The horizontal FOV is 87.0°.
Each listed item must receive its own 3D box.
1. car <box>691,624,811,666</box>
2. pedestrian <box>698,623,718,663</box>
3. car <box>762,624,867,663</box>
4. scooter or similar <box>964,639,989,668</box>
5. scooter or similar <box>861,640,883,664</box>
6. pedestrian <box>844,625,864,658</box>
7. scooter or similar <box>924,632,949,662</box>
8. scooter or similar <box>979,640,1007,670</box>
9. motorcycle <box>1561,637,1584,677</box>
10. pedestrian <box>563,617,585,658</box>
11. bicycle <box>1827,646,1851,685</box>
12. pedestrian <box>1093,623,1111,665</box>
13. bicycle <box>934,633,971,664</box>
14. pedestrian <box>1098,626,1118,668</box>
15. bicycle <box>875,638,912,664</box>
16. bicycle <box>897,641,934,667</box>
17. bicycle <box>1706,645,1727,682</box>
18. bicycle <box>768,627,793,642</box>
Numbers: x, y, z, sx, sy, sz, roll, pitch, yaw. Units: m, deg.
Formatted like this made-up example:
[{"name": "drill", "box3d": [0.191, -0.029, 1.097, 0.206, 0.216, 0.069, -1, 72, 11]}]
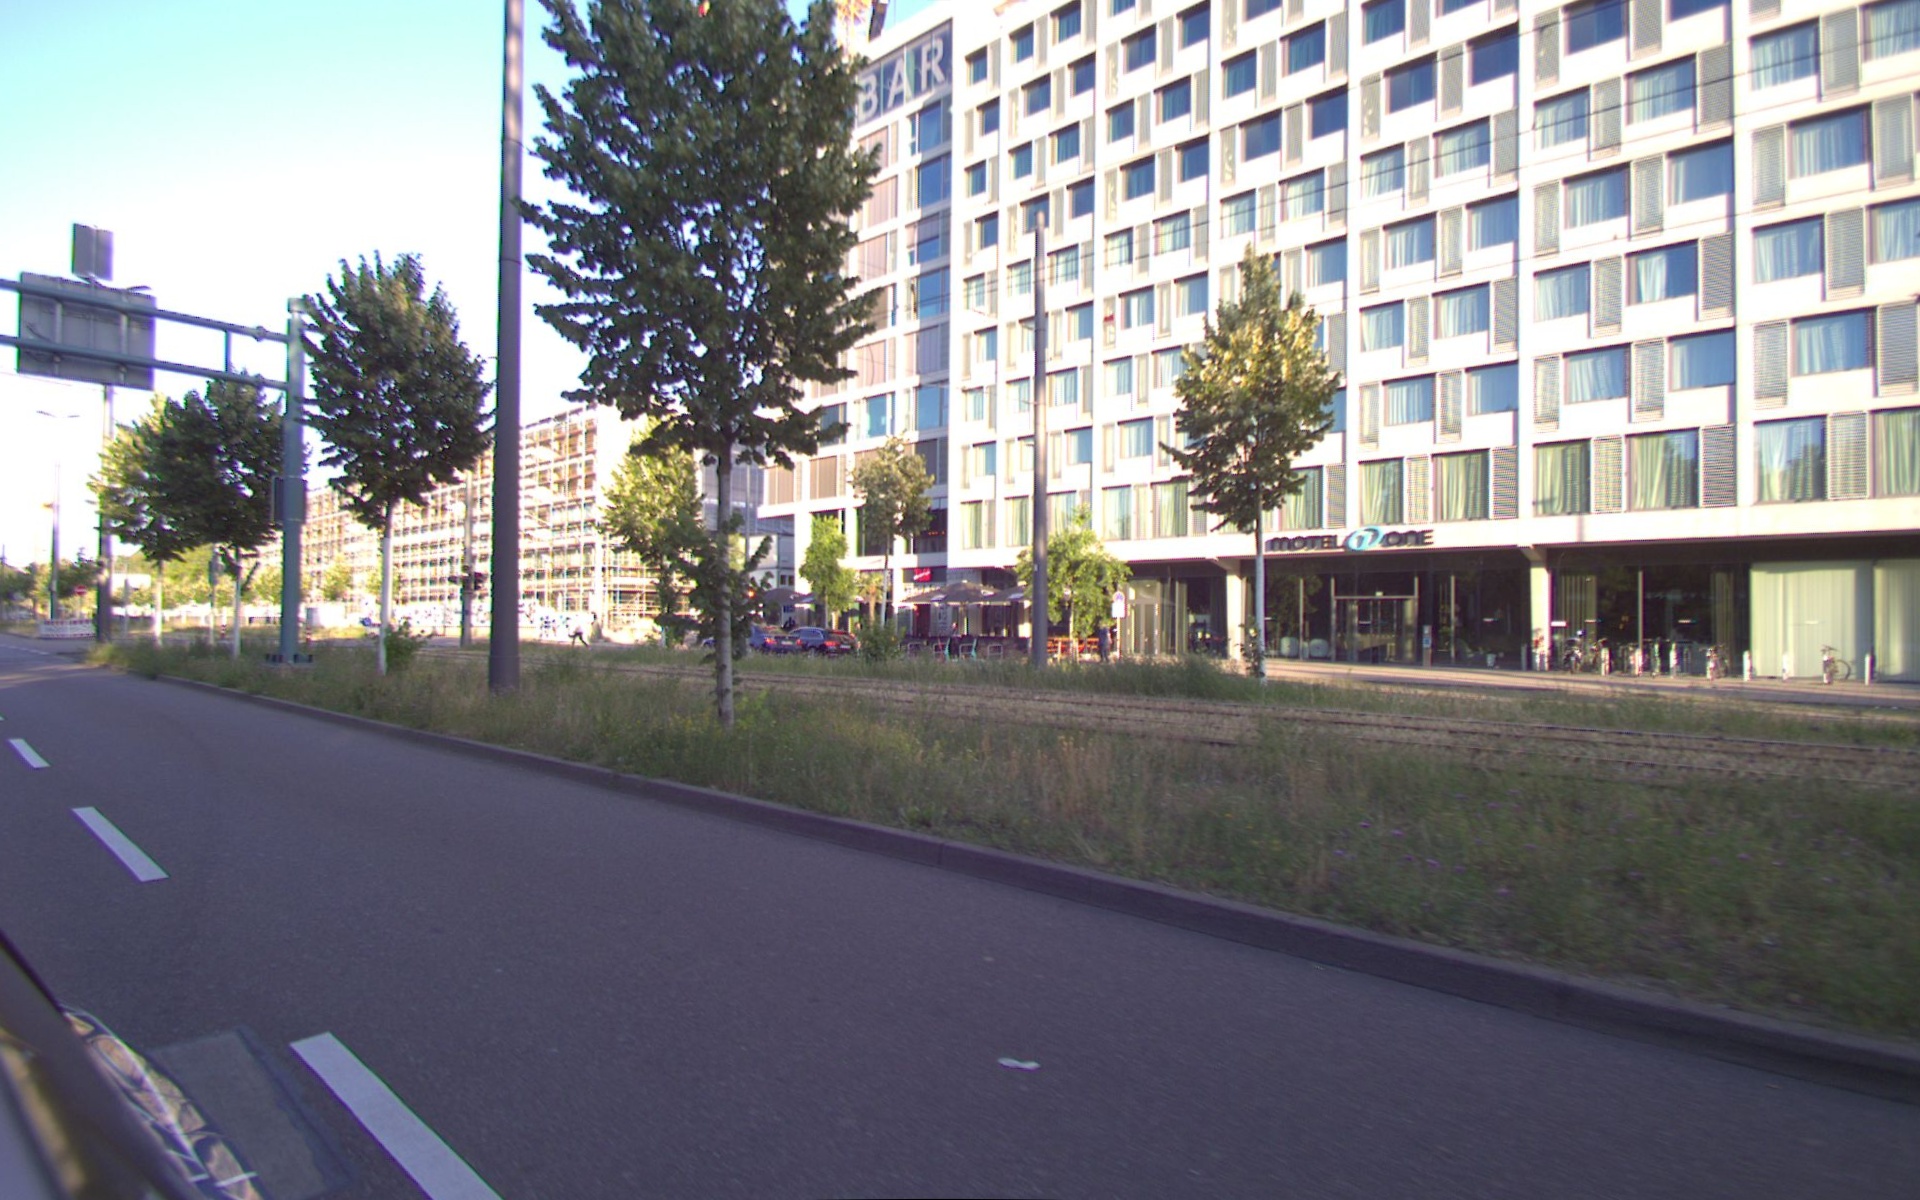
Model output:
[{"name": "car", "box3d": [-7.918, 1.690, 38.104, 4.801, 1.452, 1.993, -1, -4, 43]}, {"name": "pedestrian", "box3d": [-12.276, 2.081, 49.265, 0.709, 1.938, 0.671, -1, 0, 44]}, {"name": "car", "box3d": [-5.806, 1.683, 40.143, 4.223, 1.451, 1.865, -1, -2, 42]}, {"name": "scooter or similar", "box3d": [0.673, 2.186, 41.208, 0.338, 1.172, 1.168, -1, -3, 43]}, {"name": "scooter or similar", "box3d": [-3.939, 2.319, 45.302, 0.291, 1.041, 0.995, 1, 0, 43]}, {"name": "pedestrian", "box3d": [-5.253, 2.043, 50.288, 0.706, 1.616, 0.674, -1, 0, 31]}, {"name": "scooter or similar", "box3d": [-0.979, 1.960, 42.517, 0.338, 1.227, 1.168, -1, -2, 43]}, {"name": "scooter or similar", "box3d": [1.313, 2.164, 40.079, 0.338, 1.066, 1.169, -3, 0, 43]}, {"name": "motorcycle", "box3d": [19.740, 1.818, 32.628, 0.513, 1.180, 1.880, 0, -1, 27]}, {"name": "pedestrian", "box3d": [-18.190, 1.759, 47.700, 0.762, 1.850, 0.699, -1, 0, 42]}, {"name": "bicycle", "box3d": [24.392, 1.805, 28.089, 0.421, 1.028, 1.770, -1, -2, 39]}, {"name": "pedestrian", "box3d": [5.691, 1.746, 40.620, 0.516, 1.669, 0.424, -1, 0, 44]}, {"name": "bicycle", "box3d": [-0.315, 1.995, 42.093, 0.442, 1.208, 1.890, -1, -1, 39]}, {"name": "pedestrian", "box3d": [5.840, 1.856, 39.947, 0.604, 1.612, 0.491, -1, 0, 44]}, {"name": "bicycle", "box3d": [-2.903, 2.216, 44.207, 0.442, 1.067, 1.890, -1, -1, 39]}, {"name": "bicycle", "box3d": [-1.878, 2.298, 43.312, 0.442, 1.067, 1.890, -1, -1, 39]}, {"name": "bicycle", "box3d": [22.330, 1.851, 29.860, 0.421, 1.028, 1.725, -1, -2, 39]}, {"name": "bicycle", "box3d": [-11.196, 2.144, 62.983, 1.977, 0.881, 0.389, -4, -2, 42]}]
